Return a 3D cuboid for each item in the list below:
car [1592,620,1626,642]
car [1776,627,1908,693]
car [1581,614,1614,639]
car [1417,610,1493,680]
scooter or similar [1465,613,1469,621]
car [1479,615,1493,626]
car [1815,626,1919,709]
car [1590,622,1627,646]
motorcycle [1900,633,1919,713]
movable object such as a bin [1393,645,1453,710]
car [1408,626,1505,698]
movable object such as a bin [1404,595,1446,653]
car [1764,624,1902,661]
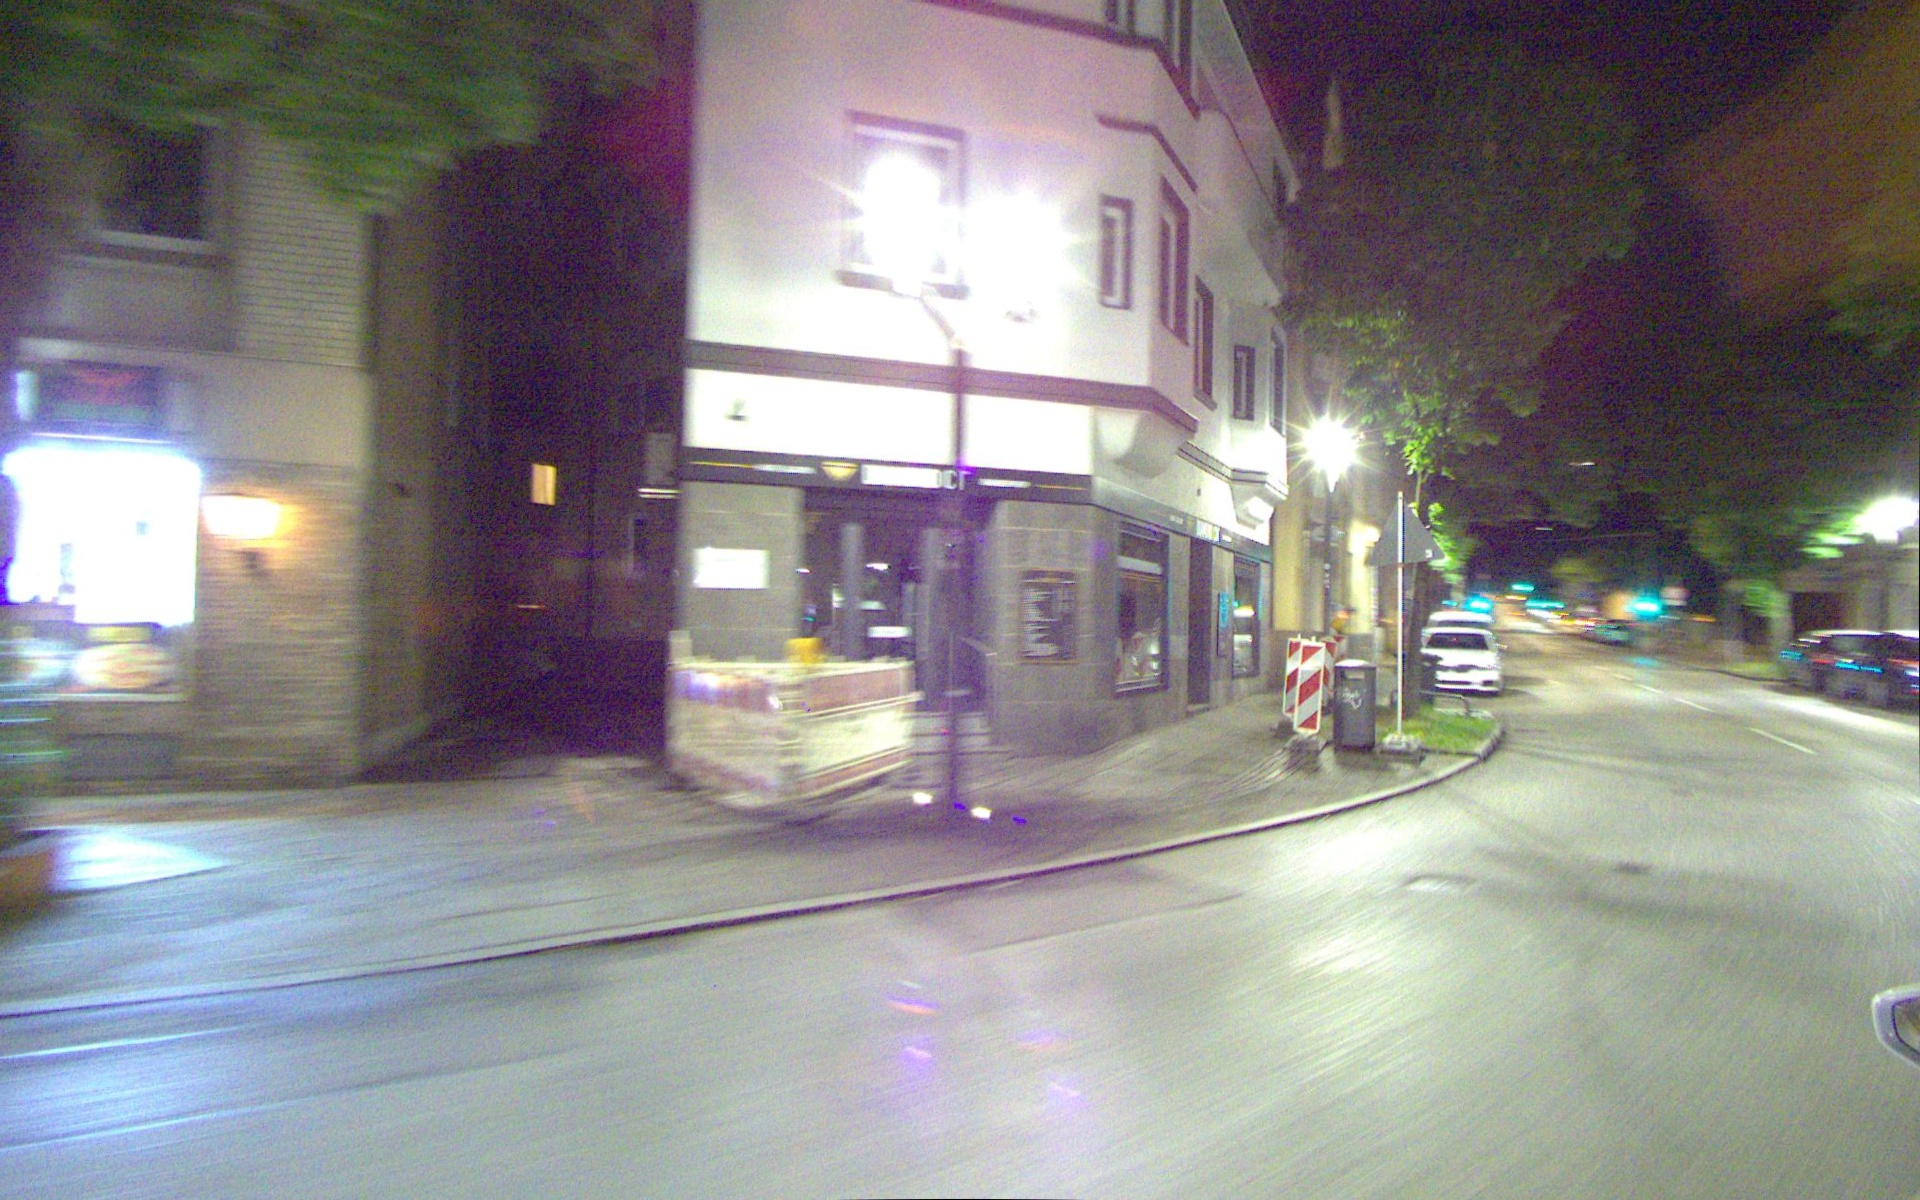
[{"bbox_3d":[46.202,2.190,71.561,1.660,1.439,4.437,-1,-1,28],"label":"car"},{"bbox_3d":[21.683,1.410,24.854,1.711,1.473,3.992,0,-1,30],"label":"car"},{"bbox_3d":[49.038,2.020,77.305,1.709,1.879,4.311,0,-1,26],"label":"car"},{"bbox_3d":[14.726,1.258,29.838,1.854,1.868,4.808,1,-1,27],"label":"car"},{"bbox_3d":[83.141,2.804,164.662,0.520,1.180,2.504,-1,-3,28],"label":"scooter or similar"},{"bbox_3d":[73.584,2.909,140.455,1.646,1.463,4.198,1,0,28],"label":"car"},{"bbox_3d":[19.119,1.300,20.367,1.706,1.521,4.462,0,-1,27],"label":"car"},{"bbox_3d":[43.656,2.250,67.653,1.714,1.497,3.994,-2,-2,28],"label":"car"},{"bbox_3d":[18.083,1.287,17.673,2.019,1.425,0.924,-1,-1,19],"label":"motorcycle"},{"bbox_3d":[7.929,1.324,17.207,0.677,1.063,0.624,2,-1,-12],"label":"movable object such as a bin"},{"bbox_3d":[11.824,1.377,23.764,1.812,1.469,4.873,1,-1,29],"label":"car"},{"bbox_3d":[22.367,1.136,48.243,1.548,2.661,3.903,-1,-1,29],"label":"movable object such as a bin"},{"bbox_3d":[36.059,1.754,41.630,3.953,1.440,1.850,0,-2,27],"label":"car"}]
